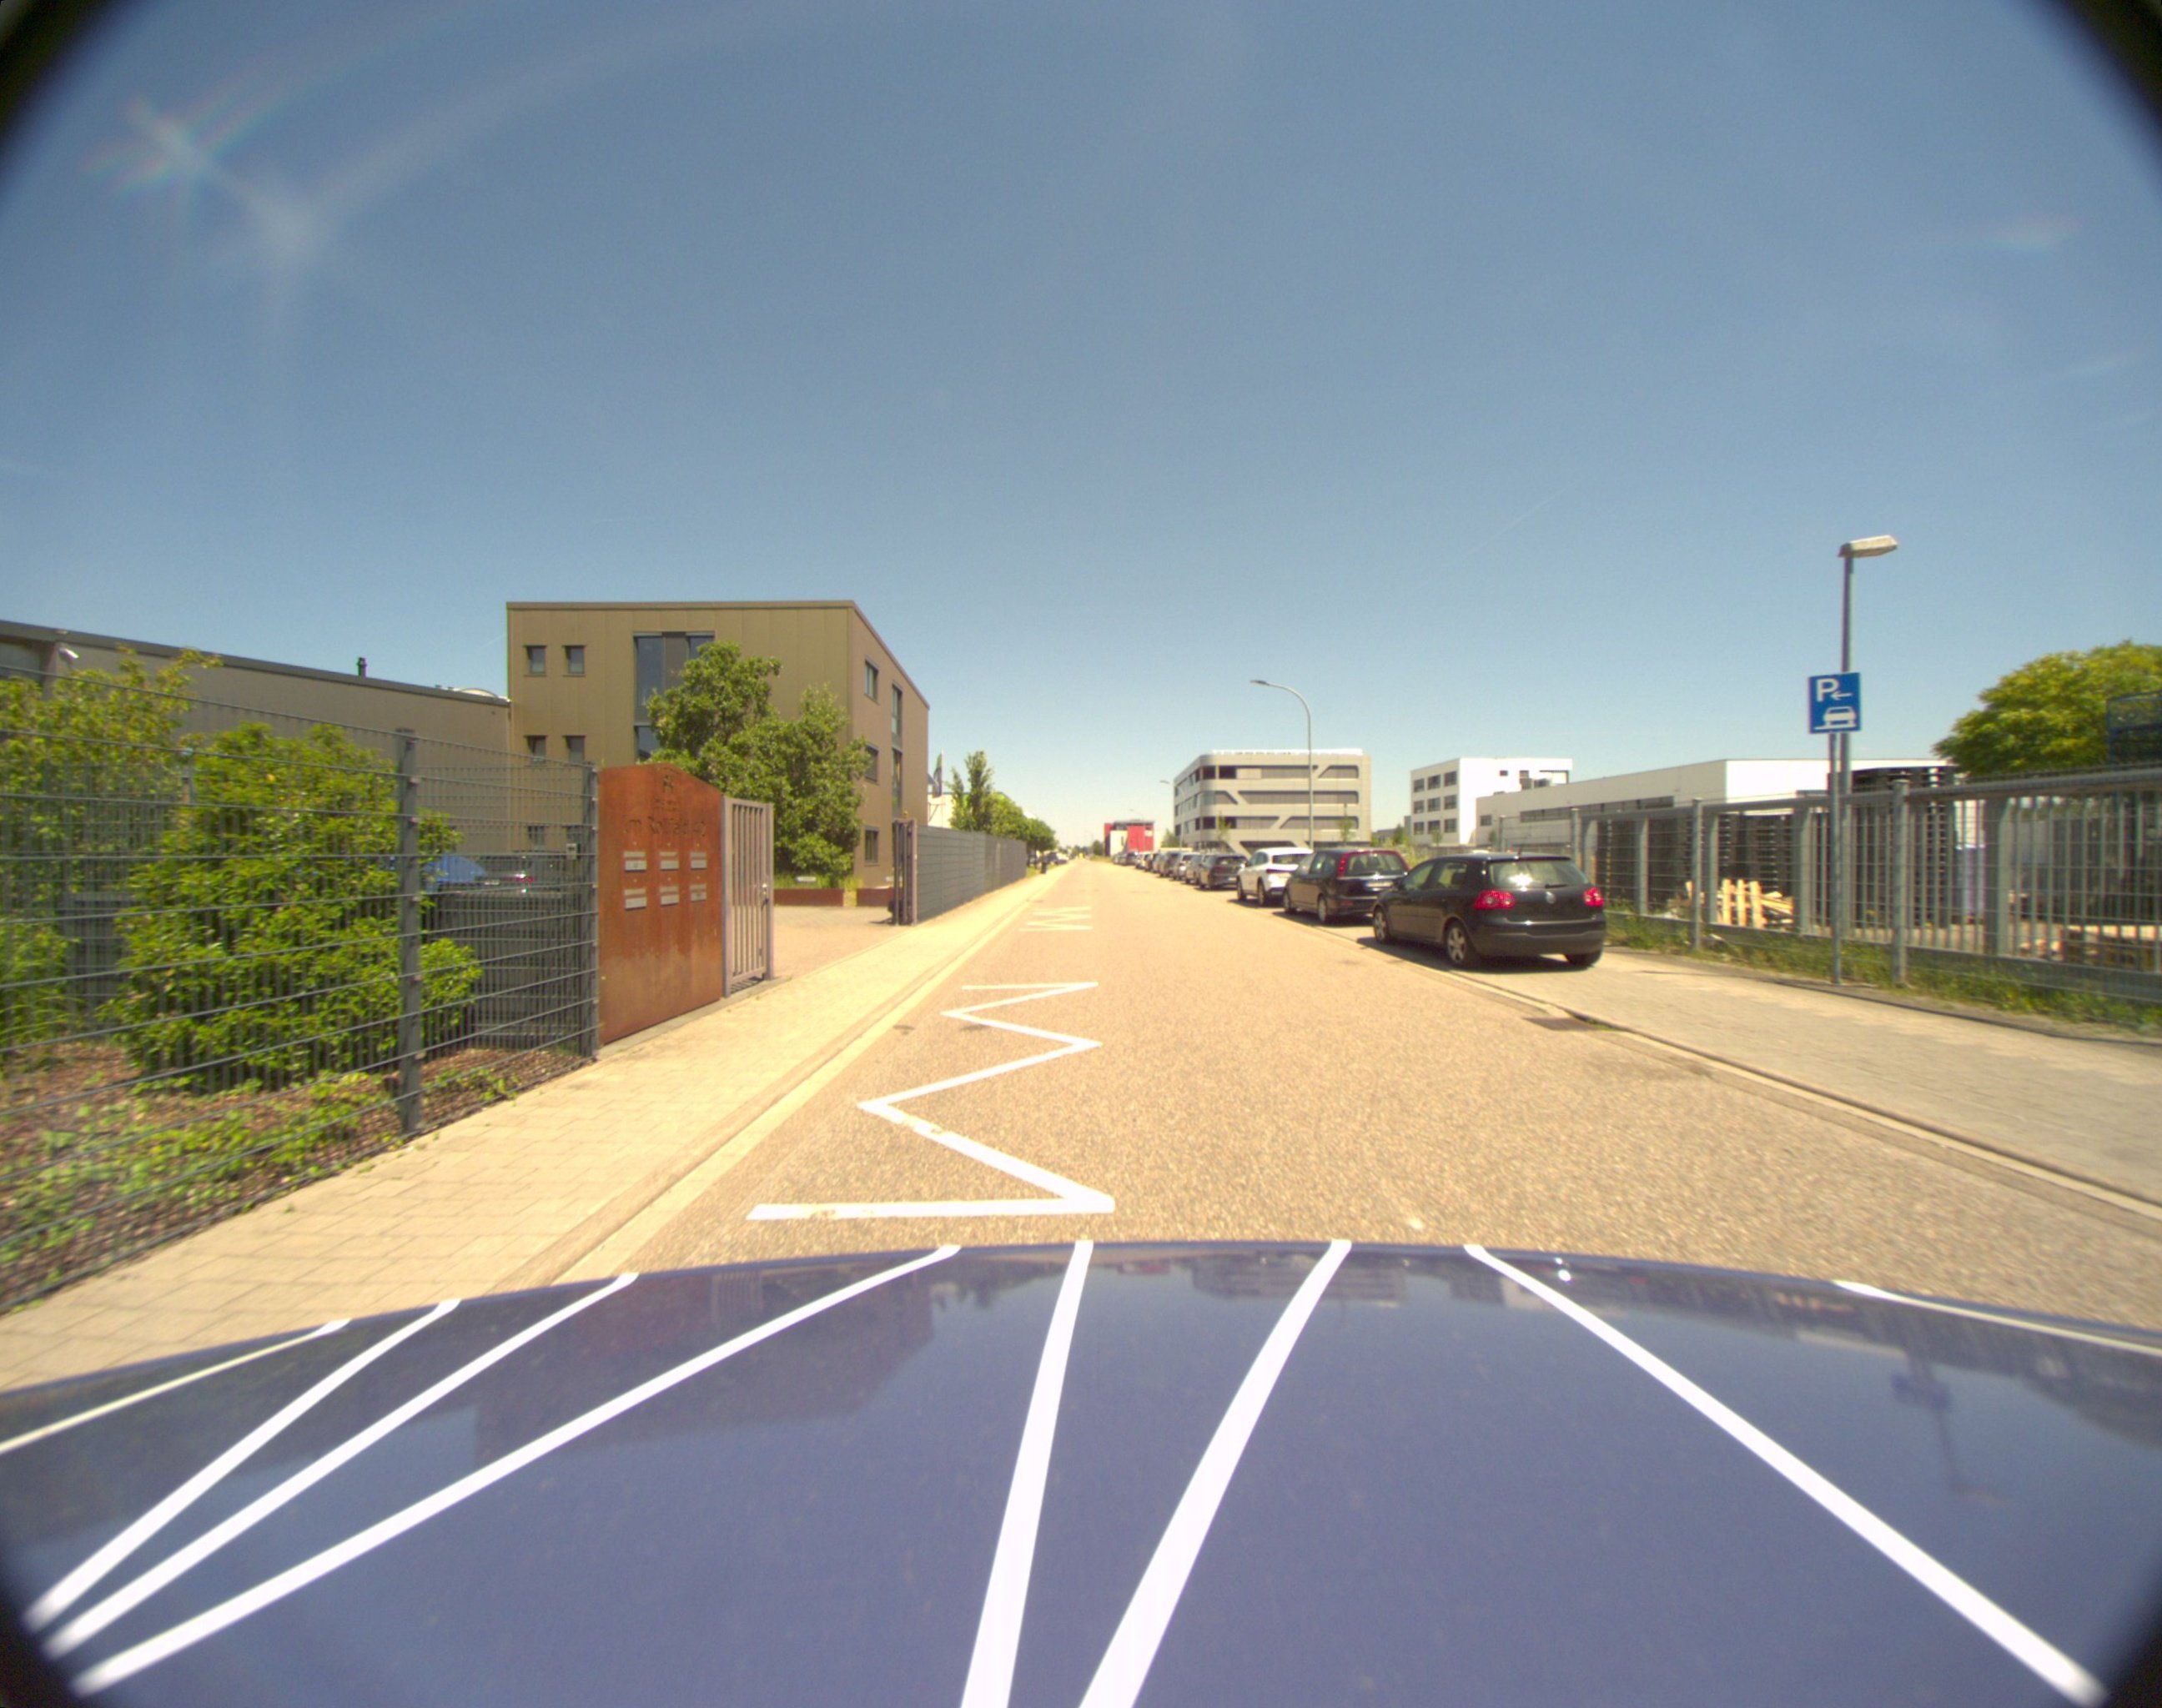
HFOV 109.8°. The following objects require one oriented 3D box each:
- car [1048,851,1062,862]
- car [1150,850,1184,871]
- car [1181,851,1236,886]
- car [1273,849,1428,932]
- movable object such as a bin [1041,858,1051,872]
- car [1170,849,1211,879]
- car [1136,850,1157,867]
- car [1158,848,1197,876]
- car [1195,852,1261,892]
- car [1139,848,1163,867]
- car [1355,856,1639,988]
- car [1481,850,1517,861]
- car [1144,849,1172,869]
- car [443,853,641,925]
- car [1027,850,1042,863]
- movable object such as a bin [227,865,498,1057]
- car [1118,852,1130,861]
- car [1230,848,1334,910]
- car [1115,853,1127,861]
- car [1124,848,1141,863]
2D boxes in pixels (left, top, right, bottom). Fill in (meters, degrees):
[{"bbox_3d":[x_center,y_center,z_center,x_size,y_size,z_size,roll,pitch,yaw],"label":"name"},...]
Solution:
[{"bbox_3d":[-3.479,0.375,101.816,1.696,1.419,4.246,-1,0,1],"label":"car"},{"bbox_3d":[6.230,0.448,55.520,1.768,1.442,4.199,-2,0,-2],"label":"car"},{"bbox_3d":[6.001,0.631,36.196,1.779,1.472,4.815,-1,0,0],"label":"car"},{"bbox_3d":[5.740,0.689,16.837,1.773,1.547,4.500,-1,1,-1],"label":"car"},{"bbox_3d":[-2.448,0.748,52.691,0.553,0.923,0.522,4,1,10],"label":"movable object such as a bin"},{"bbox_3d":[5.935,0.506,41.502,1.698,1.516,3.734,-1,0,0],"label":"car"},{"bbox_3d":[6.301,0.400,73.101,1.791,1.533,4.365,-1,0,2],"label":"car"},{"bbox_3d":[5.889,0.431,46.834,1.795,1.597,4.462,-1,0,0],"label":"car"},{"bbox_3d":[5.862,0.678,30.810,1.861,1.472,4.229,-1,0,1],"label":"car"},{"bbox_3d":[6.251,0.302,68.284,1.791,1.647,3.768,-1,0,0],"label":"car"},{"bbox_3d":[5.635,0.795,11.035,1.773,1.453,4.333,-1,1,1],"label":"car"},{"bbox_3d":[58.354,0.200,105.998,3.999,1.576,1.921,0,0,-6],"label":"car"},{"bbox_3d":[6.101,0.390,60.650,1.767,1.508,4.379,-2,0,0],"label":"car"},{"bbox_3d":[-12.093,0.714,17.412,1.659,1.435,3.999,0,1,0],"label":"car"},{"bbox_3d":[-6.191,0.329,101.829,1.727,1.623,4.022,-1,0,1],"label":"car"},{"bbox_3d":[-5.890,0.831,6.321,1.337,1.451,0.948,0,1,0],"label":"movable object such as a bin"},{"bbox_3d":[6.867,0.435,120.896,1.688,1.378,4.640,-1,-1,1],"label":"car"},{"bbox_3d":[5.665,0.633,21.973,1.773,1.583,4.359,-1,1,-1],"label":"car"},{"bbox_3d":[6.763,0.480,129.441,1.704,1.378,3.937,-1,-1,-2],"label":"car"},{"bbox_3d":[6.309,0.177,93.233,1.807,1.709,4.622,-2,0,1],"label":"car"}]
